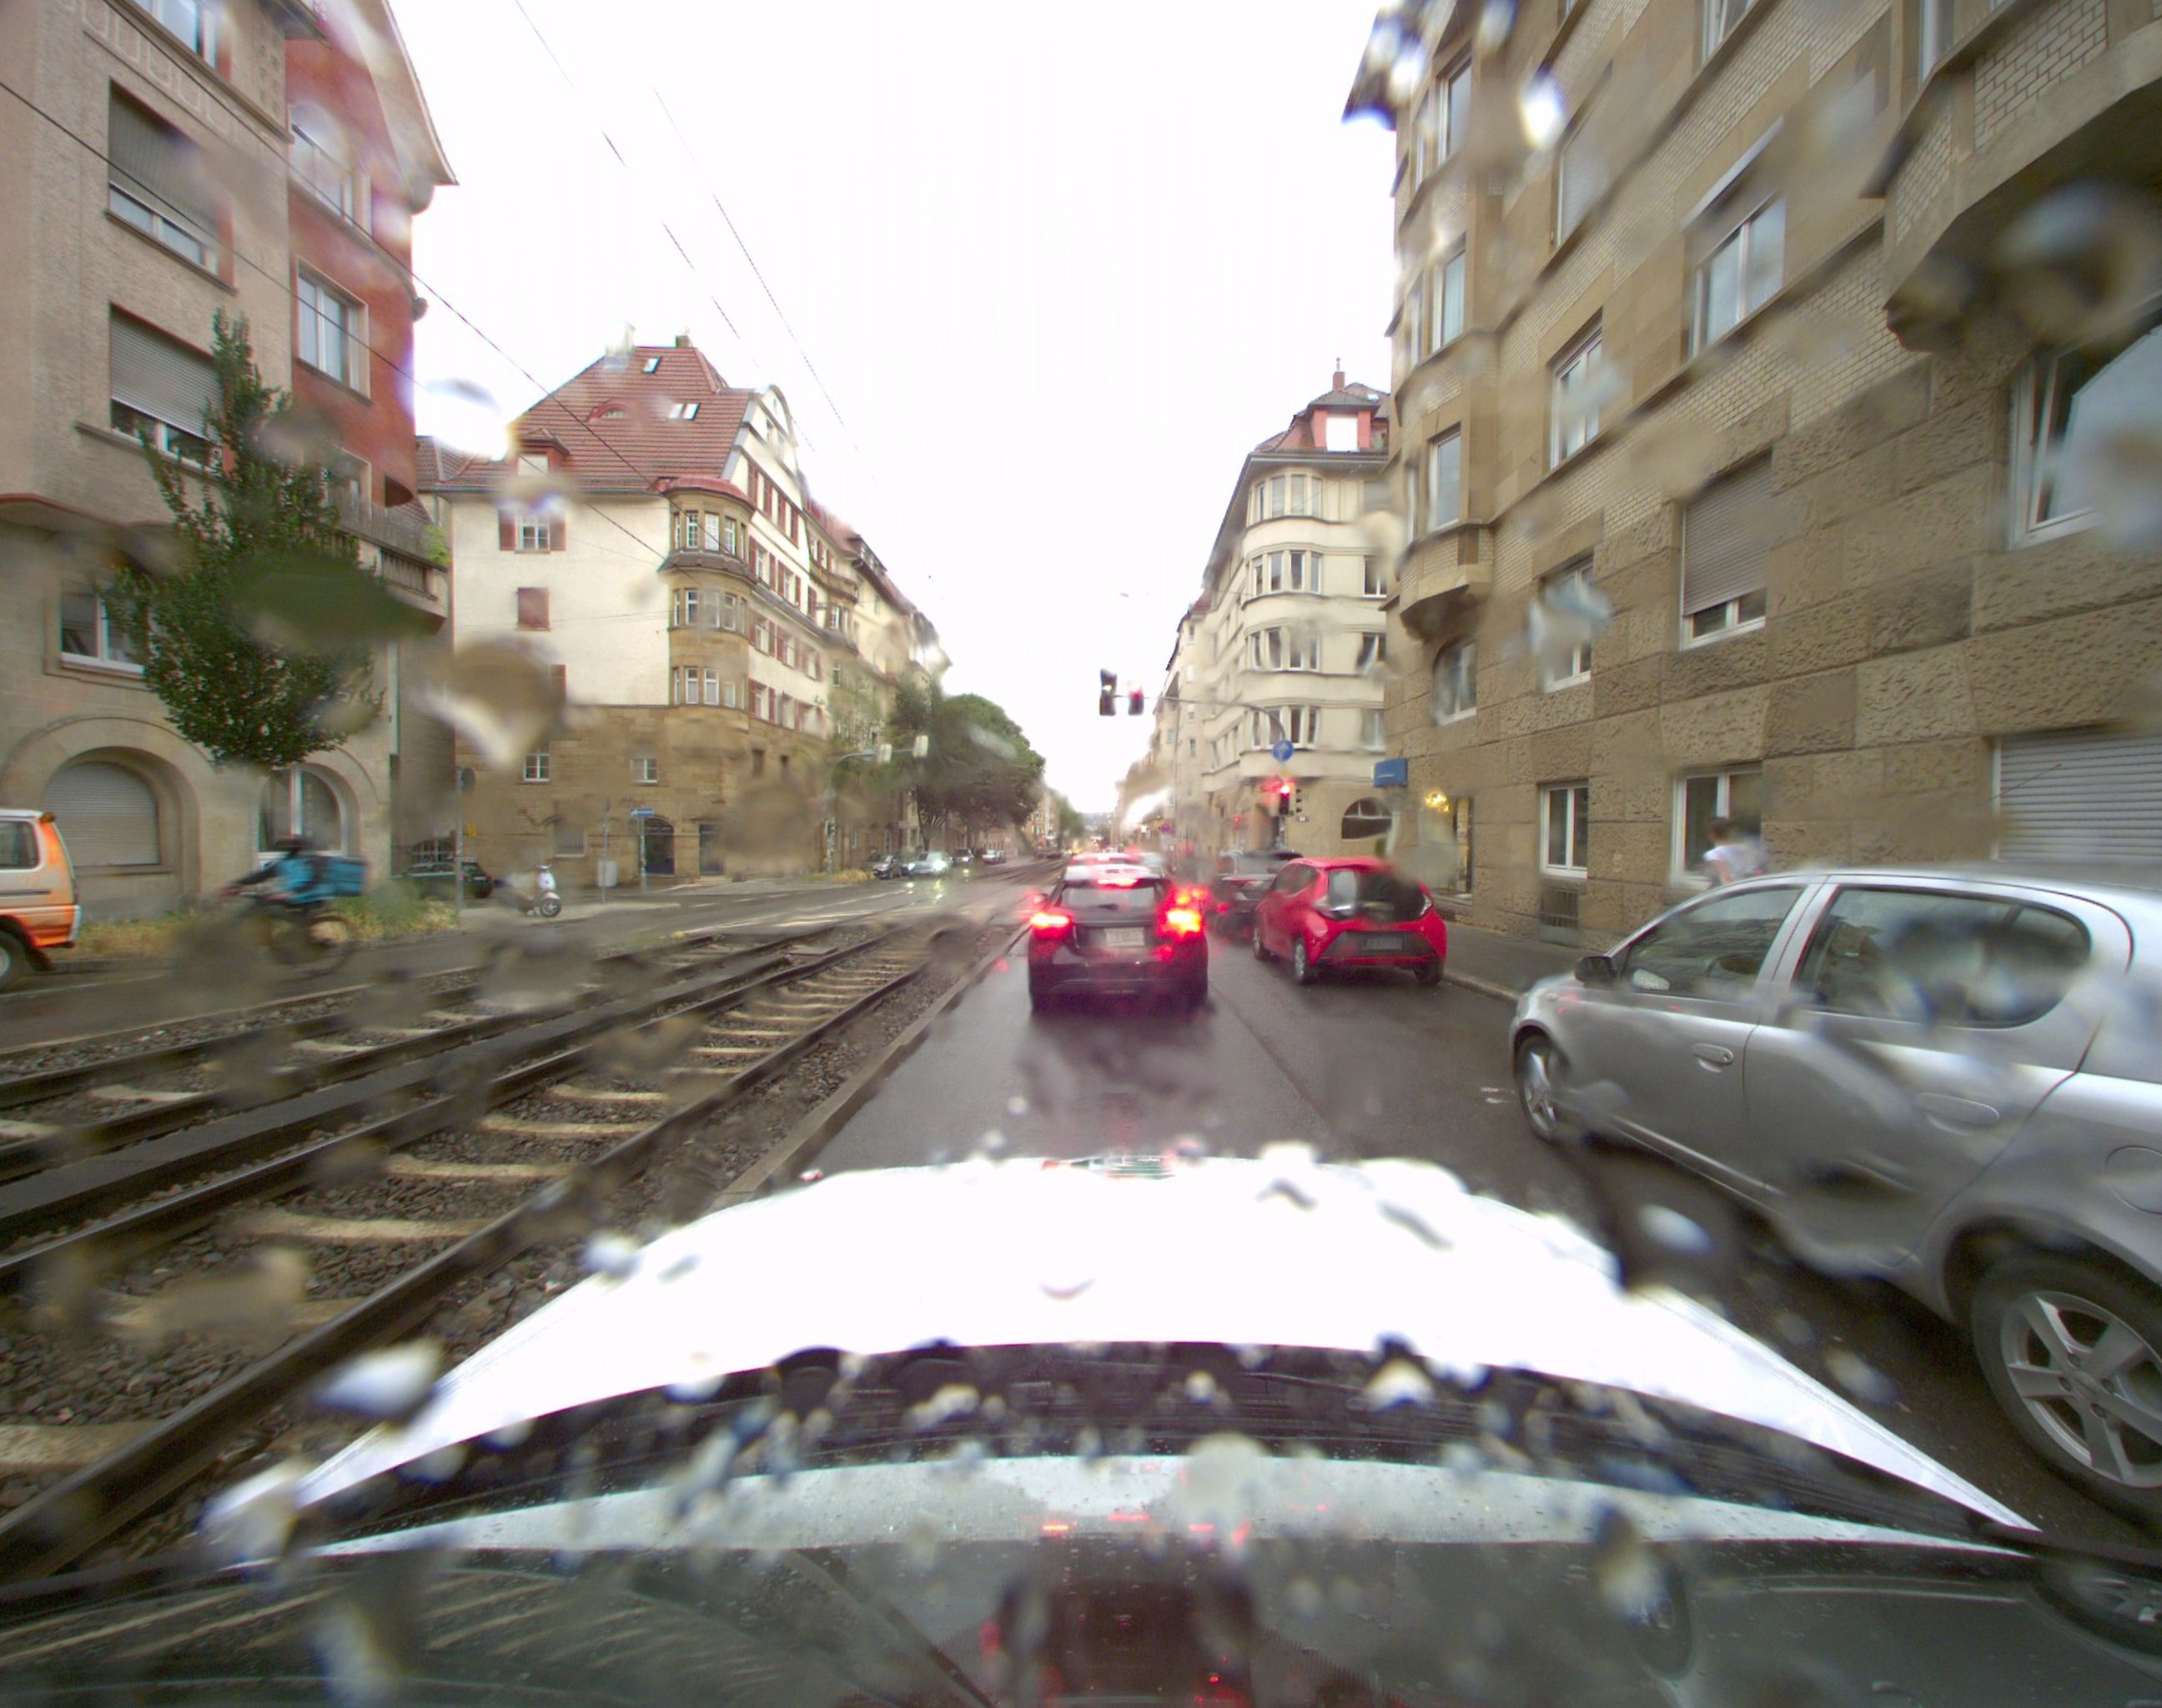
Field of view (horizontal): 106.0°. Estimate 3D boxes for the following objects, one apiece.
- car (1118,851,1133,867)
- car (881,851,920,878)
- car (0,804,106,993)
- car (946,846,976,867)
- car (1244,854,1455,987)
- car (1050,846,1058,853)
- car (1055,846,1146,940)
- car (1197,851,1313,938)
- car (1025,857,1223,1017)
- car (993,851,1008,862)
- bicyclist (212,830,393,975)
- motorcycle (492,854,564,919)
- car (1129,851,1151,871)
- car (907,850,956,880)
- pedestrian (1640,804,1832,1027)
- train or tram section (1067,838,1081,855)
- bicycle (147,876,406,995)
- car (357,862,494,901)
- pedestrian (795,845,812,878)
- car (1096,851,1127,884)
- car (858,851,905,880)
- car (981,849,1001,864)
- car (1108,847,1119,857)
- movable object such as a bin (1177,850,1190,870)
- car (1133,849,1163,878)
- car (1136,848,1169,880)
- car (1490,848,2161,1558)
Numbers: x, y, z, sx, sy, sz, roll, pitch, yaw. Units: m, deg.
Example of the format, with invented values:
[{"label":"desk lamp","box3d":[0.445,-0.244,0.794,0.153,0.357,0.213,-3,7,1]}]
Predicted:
[{"label":"car","box3d":[4.027,0.416,73.674,1.289,1.442,2.930,0,0,2]},{"label":"car","box3d":[-11.287,0.646,51.154,1.713,1.611,3.914,0,-1,-3]},{"label":"car","box3d":[-12.128,0.456,7.212,1.725,1.975,4.341,0,-1,0]},{"label":"car","box3d":[-10.595,0.220,72.142,1.868,1.737,3.920,0,-1,2]},{"label":"car","box3d":[3.272,0.729,10.566,1.637,1.448,3.298,0,0,-1]},{"label":"car","box3d":[-5.212,-0.932,157.082,1.372,1.249,3.297,0,-1,0]},{"label":"car","box3d":[0.388,0.695,15.960,1.559,1.609,3.815,0,-1,2]},{"label":"car","box3d":[3.239,0.685,15.810,1.539,1.486,3.831,0,0,2]},{"label":"car","box3d":[0.461,0.775,9.565,1.822,1.458,4.105,0,0,2]},{"label":"car","box3d":[-9.793,0.308,99.015,1.443,1.331,3.271,0,-1,0]},{"label":"bicyclist","box3d":[-9.156,0.535,9.643,0.879,1.597,1.256,0,-1,8]},{"label":"motorcycle","box3d":[-12.071,0.702,17.768,1.577,1.365,0.628,-1,-1,28]},{"label":"car","box3d":[4.415,0.538,61.583,1.539,1.486,3.549,0,0,2]},{"label":"car","box3d":[-8.272,0.580,45.433,1.891,1.588,3.974,0,-1,2]},{"label":"pedestrian","box3d":[5.516,0.486,6.944,0.739,1.748,1.111,0,-1,2]},{"label":"train or tram section","box3d":[-1.601,-1.653,193.401,2.772,3.861,10.433,0,-1,2]},{"label":"bicycle","box3d":[-9.175,0.864,9.441,0.819,1.186,2.042,-1,-1,8]},{"label":"car","box3d":[-24.387,0.999,30.412,3.633,1.404,1.699,0,-1,-3]},{"label":"pedestrian","box3d":[-14.172,0.367,41.594,0.630,1.672,0.701,0,-1,-5]},{"label":"car","box3d":[1.573,0.680,42.105,1.538,1.636,3.688,0,0,2]},{"label":"car","box3d":[-11.257,0.638,46.119,1.747,1.552,4.033,0,-1,-2]},{"label":"car","box3d":[-9.864,0.318,89.599,1.583,1.581,3.920,0,-1,2]},{"label":"car","box3d":[6.176,-0.366,154.439,1.986,1.876,4.001,0,-1,2]},{"label":"movable object such as a bin","box3d":[7.474,0.432,59.556,0.873,1.389,0.984,0,-1,5]},{"label":"car","box3d":[3.841,0.531,47.176,1.539,1.590,3.549,0,0,2]},{"label":"car","box3d":[3.699,0.486,42.702,1.539,1.590,3.549,0,0,2]},{"label":"car","box3d":[3.141,0.734,3.101,1.608,1.467,3.314,-2,0,3]}]
